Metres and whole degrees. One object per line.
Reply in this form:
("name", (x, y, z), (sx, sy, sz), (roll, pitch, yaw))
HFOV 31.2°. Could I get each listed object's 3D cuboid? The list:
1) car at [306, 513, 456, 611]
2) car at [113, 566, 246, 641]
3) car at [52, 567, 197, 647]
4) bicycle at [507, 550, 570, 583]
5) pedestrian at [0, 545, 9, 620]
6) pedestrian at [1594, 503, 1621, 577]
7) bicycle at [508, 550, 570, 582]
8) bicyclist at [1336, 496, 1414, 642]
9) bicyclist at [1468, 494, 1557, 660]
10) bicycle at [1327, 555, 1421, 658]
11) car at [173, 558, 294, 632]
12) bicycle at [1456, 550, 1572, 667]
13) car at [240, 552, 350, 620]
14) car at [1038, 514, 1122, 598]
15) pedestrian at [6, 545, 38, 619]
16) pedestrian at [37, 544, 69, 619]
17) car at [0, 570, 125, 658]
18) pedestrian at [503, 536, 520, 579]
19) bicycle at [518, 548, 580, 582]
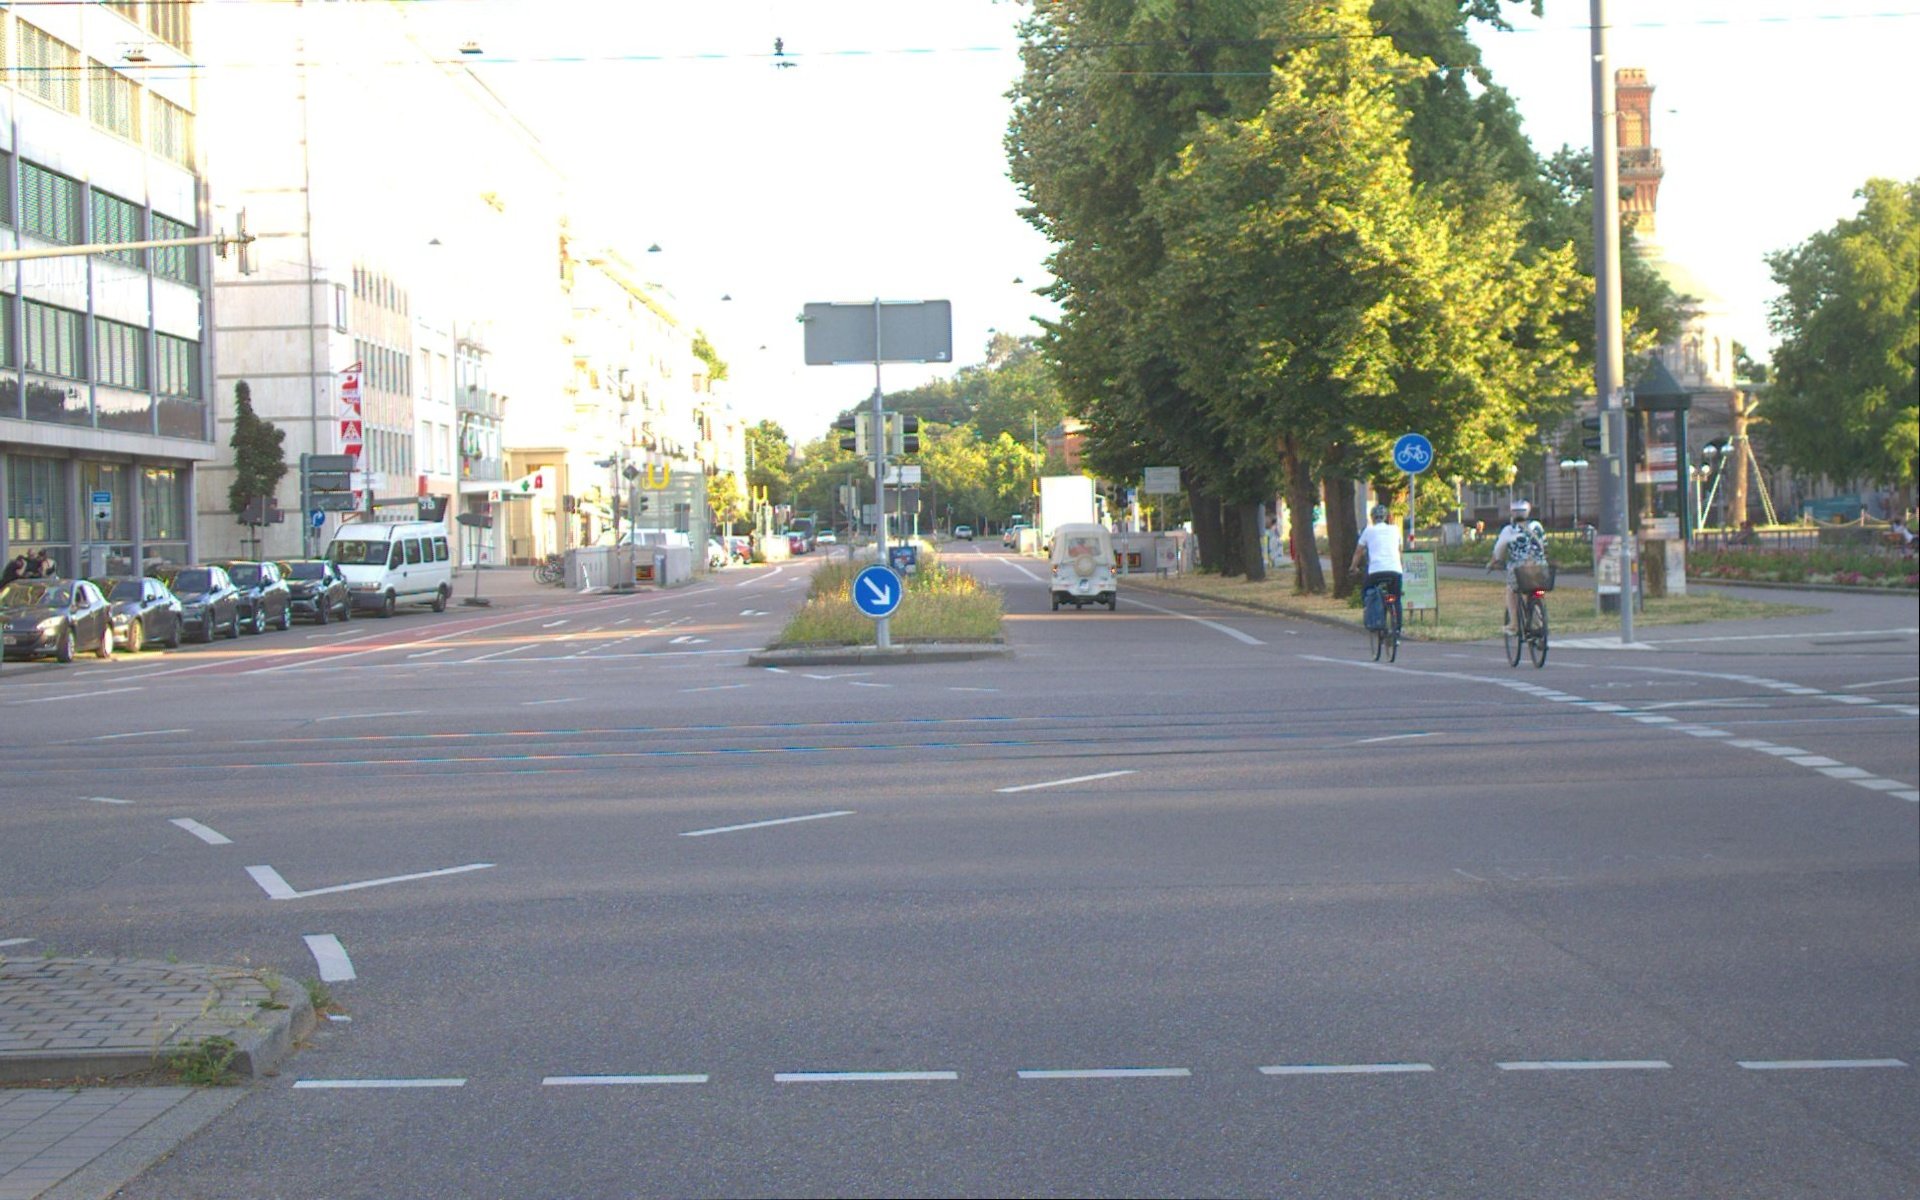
("car", (-15.309, -1.046, 91.226), (2.002, 2.469, 5.865), (-1, 1, 10))
("car", (-16.587, 0.060, 73.248), (1.920, 1.459, 4.000), (-2, 1, -1))
("car", (-16.582, 0.108, 68.433), (1.920, 1.459, 4.000), (-2, 1, -1))
("bicycle", (-15.368, -1.224, 125.484), (2.205, 1.108, 0.619), (-2, 1, -2))
("pedestrian", (-21.943, -0.394, 77.954), (0.551, 1.673, 0.500), (-2, 1, -1))
("pedestrian", (14.579, -1.361, 77.390), (0.460, 1.651, 0.567), (-1, 1, -1))
("bicycle", (-15.546, -1.256, 126.912), (2.205, 1.108, 0.689), (-2, 1, -2))
("bicyclist", (4.802, -0.363, 39.802), (0.746, 1.658, 0.873), (-2, 1, -1))
("bicyclist", (5.728, -0.243, 35.656), (0.746, 1.685, 0.799), (-2, 1, -1))
("bicycle", (4.824, 0.057, 40.223), (0.746, 1.140, 2.505), (-2, 1, -1))
("car", (-16.565, -0.143, 78.549), (1.920, 1.563, 4.000), (-2, 1, -1))
("bicycle", (5.738, 0.072, 35.712), (0.746, 1.140, 2.505), (-2, 1, -1))
("car", (-16.368, -0.376, 84.776), (1.920, 1.563, 4.000), (-2, 1, -1))
("car", (2.423, -0.906, 70.194), (1.408, 1.636, 4.000), (-2, 1, -2))
("pedestrian", (-21.339, -0.417, 78.197), (0.551, 1.673, 0.500), (-2, 1, -1))
("pedestrian", (-20.602, -0.425, 78.090), (0.551, 1.673, 0.500), (-2, 1, -1))
("car", (-16.492, 0.240, 61.886), (1.920, 1.459, 4.103), (-2, 1, -1))
("pedestrian", (-21.505, -2.032, 164.921), (0.680, 2.007, 0.545), (-2, 1, 0))
("bicycle", (-15.400, -1.312, 128.895), (2.205, 1.232, 0.839), (-2, 1, -2))
